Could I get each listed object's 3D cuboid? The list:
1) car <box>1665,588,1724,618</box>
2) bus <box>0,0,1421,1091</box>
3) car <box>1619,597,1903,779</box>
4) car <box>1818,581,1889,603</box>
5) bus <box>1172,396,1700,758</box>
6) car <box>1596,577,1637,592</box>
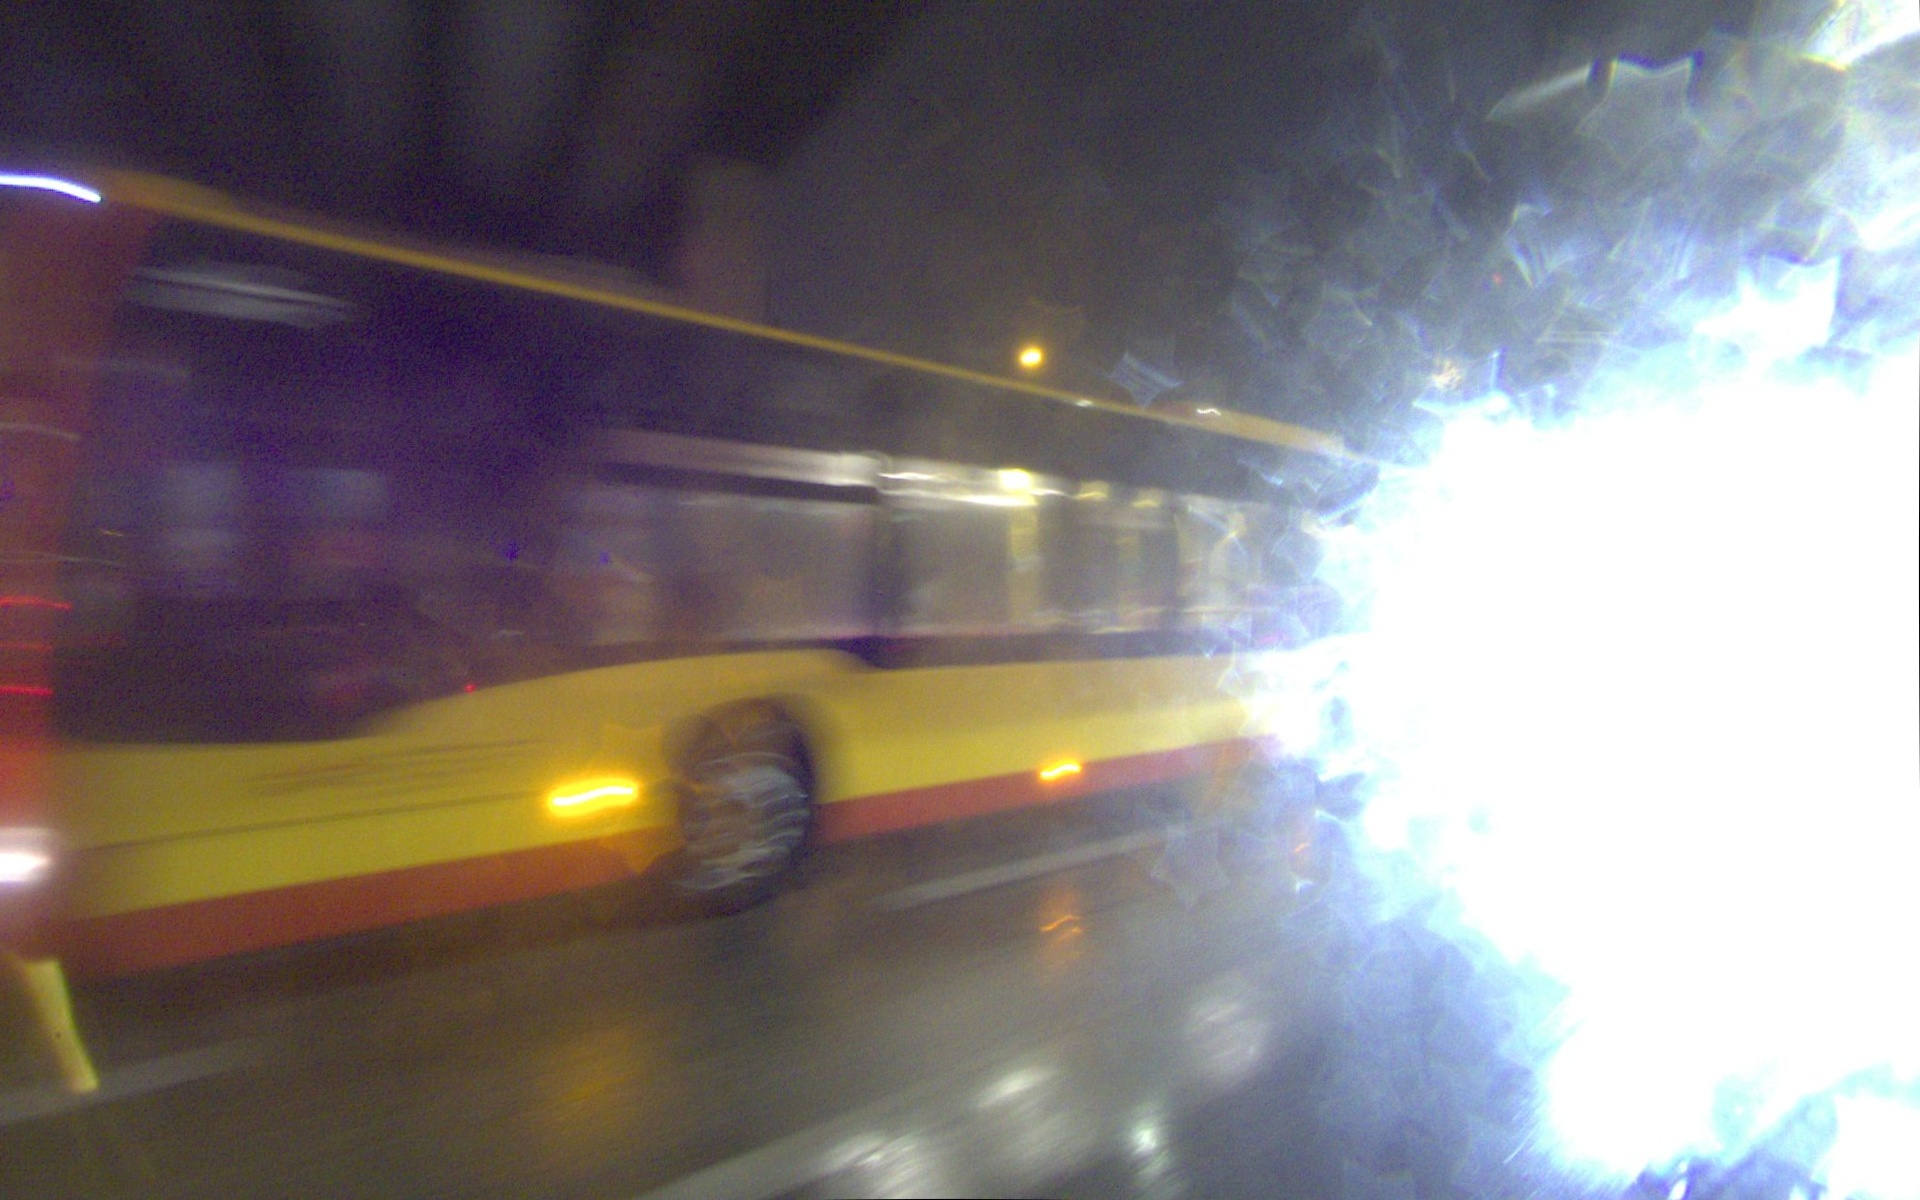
[{"bbox_3d":[40.210,0.126,55.476,1.592,1.464,3.946,3,2,21],"label":"car"},{"bbox_3d":[-0.322,-0.232,6.999,9.531,3.318,2.738,0,1,-41],"label":"bus"},{"bbox_3d":[8.393,0.776,10.468,4.092,1.506,1.721,1,-3,-44],"label":"car"},{"bbox_3d":[59.620,-0.541,67.613,1.877,1.407,4.809,1,1,20],"label":"car"},{"bbox_3d":[6.830,-0.224,13.344,9.531,3.279,2.738,0,1,-41],"label":"bus"},{"bbox_3d":[64.358,-1.539,99.288,1.873,1.407,4.820,1,1,14],"label":"car"}]
